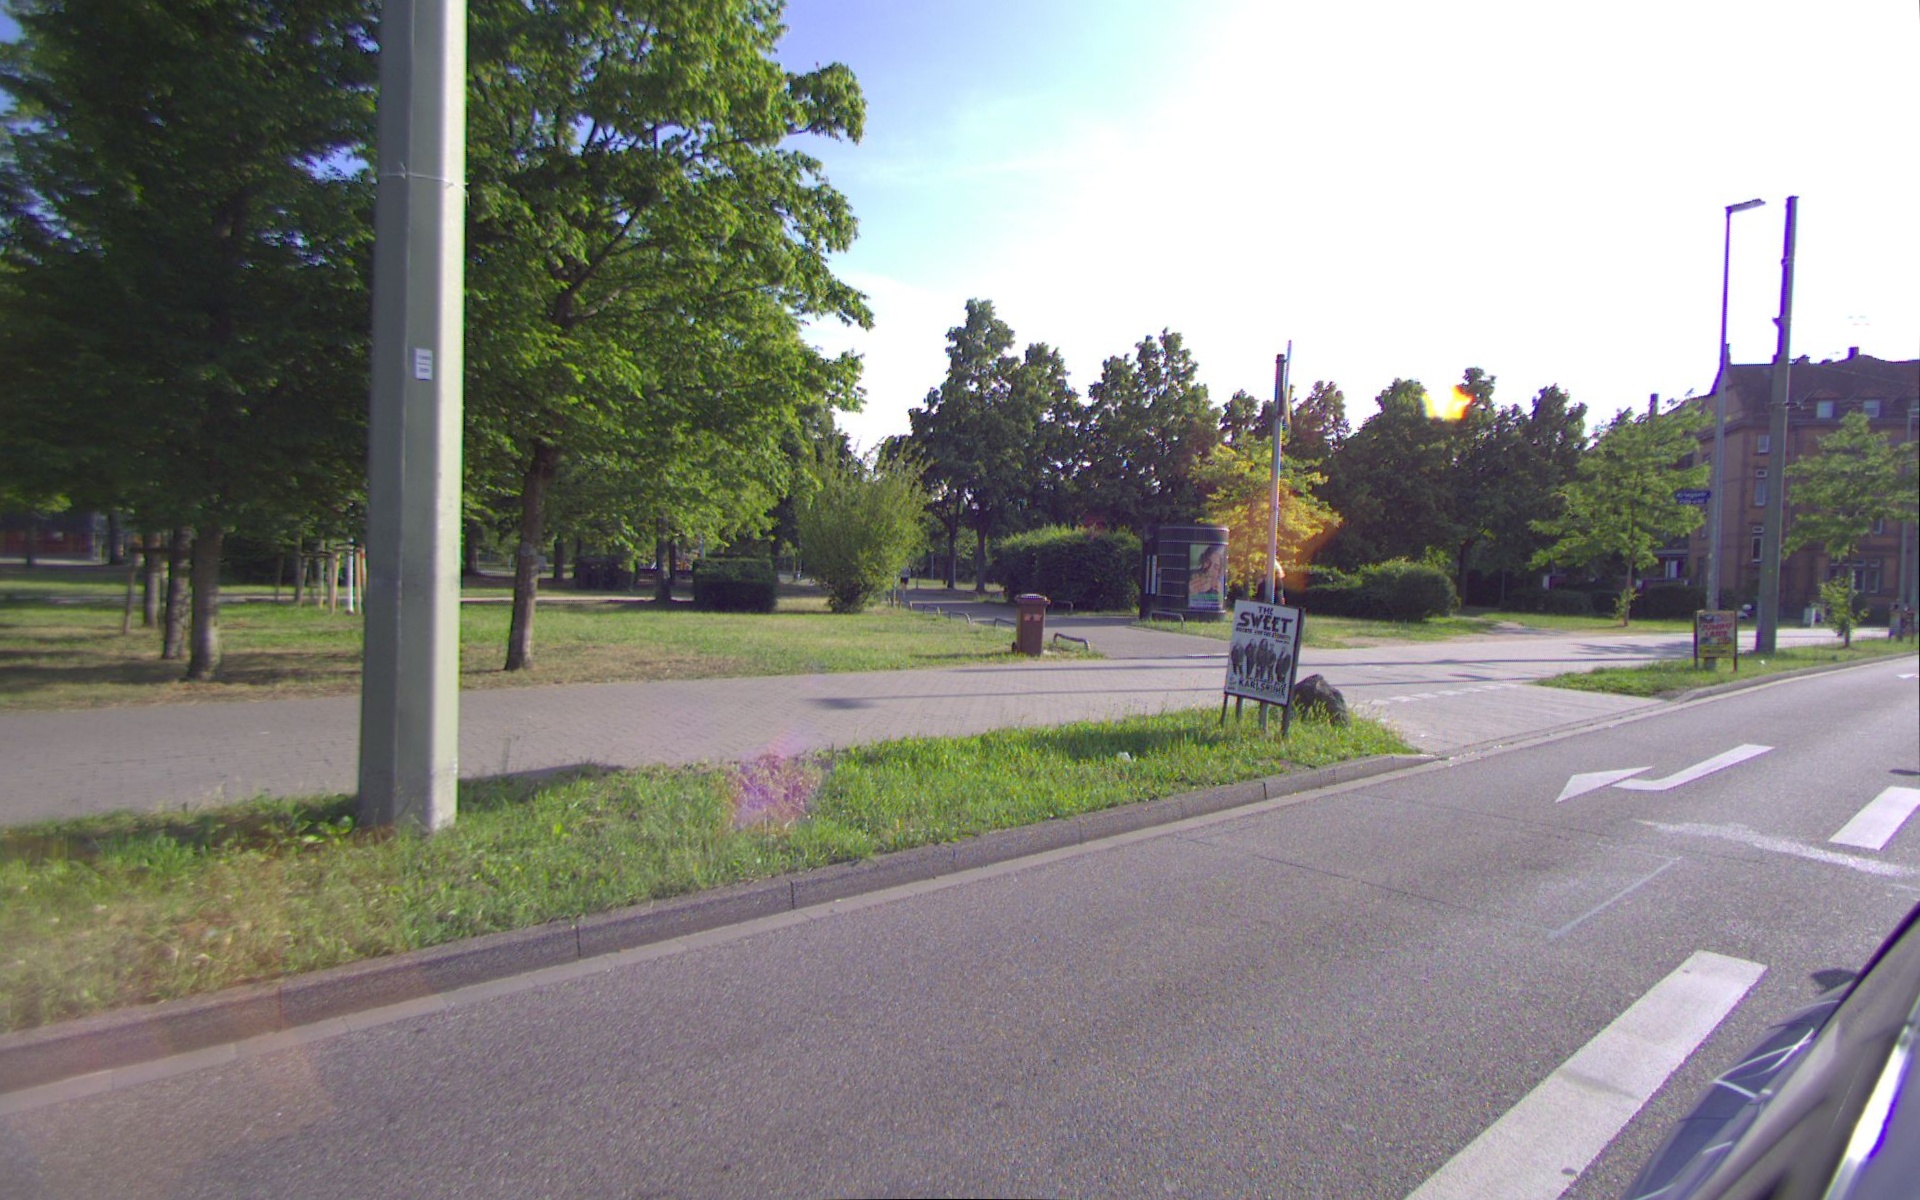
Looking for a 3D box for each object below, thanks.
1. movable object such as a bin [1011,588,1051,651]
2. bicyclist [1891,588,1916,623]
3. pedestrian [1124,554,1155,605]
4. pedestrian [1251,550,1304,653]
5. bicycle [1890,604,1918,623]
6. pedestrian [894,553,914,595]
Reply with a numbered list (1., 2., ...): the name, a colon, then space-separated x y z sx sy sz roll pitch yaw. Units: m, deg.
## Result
1. movable object such as a bin: 1.069 0.291 15.276 0.514 0.915 0.504 2 1 -2
2. bicyclist: 49.791 0.276 53.403 1.098 1.795 0.754 1 2 -38
3. pedestrian: 7.949 -0.917 44.814 0.872 2.184 0.914 1 1 -28
4. pedestrian: 5.443 0.012 17.374 0.651 1.722 0.558 1 2 -41
5. bicycle: 49.923 0.721 53.510 2.056 0.929 0.740 0 2 -38
6. pedestrian: -2.295 -1.061 41.374 0.609 1.671 0.664 1 1 -16
